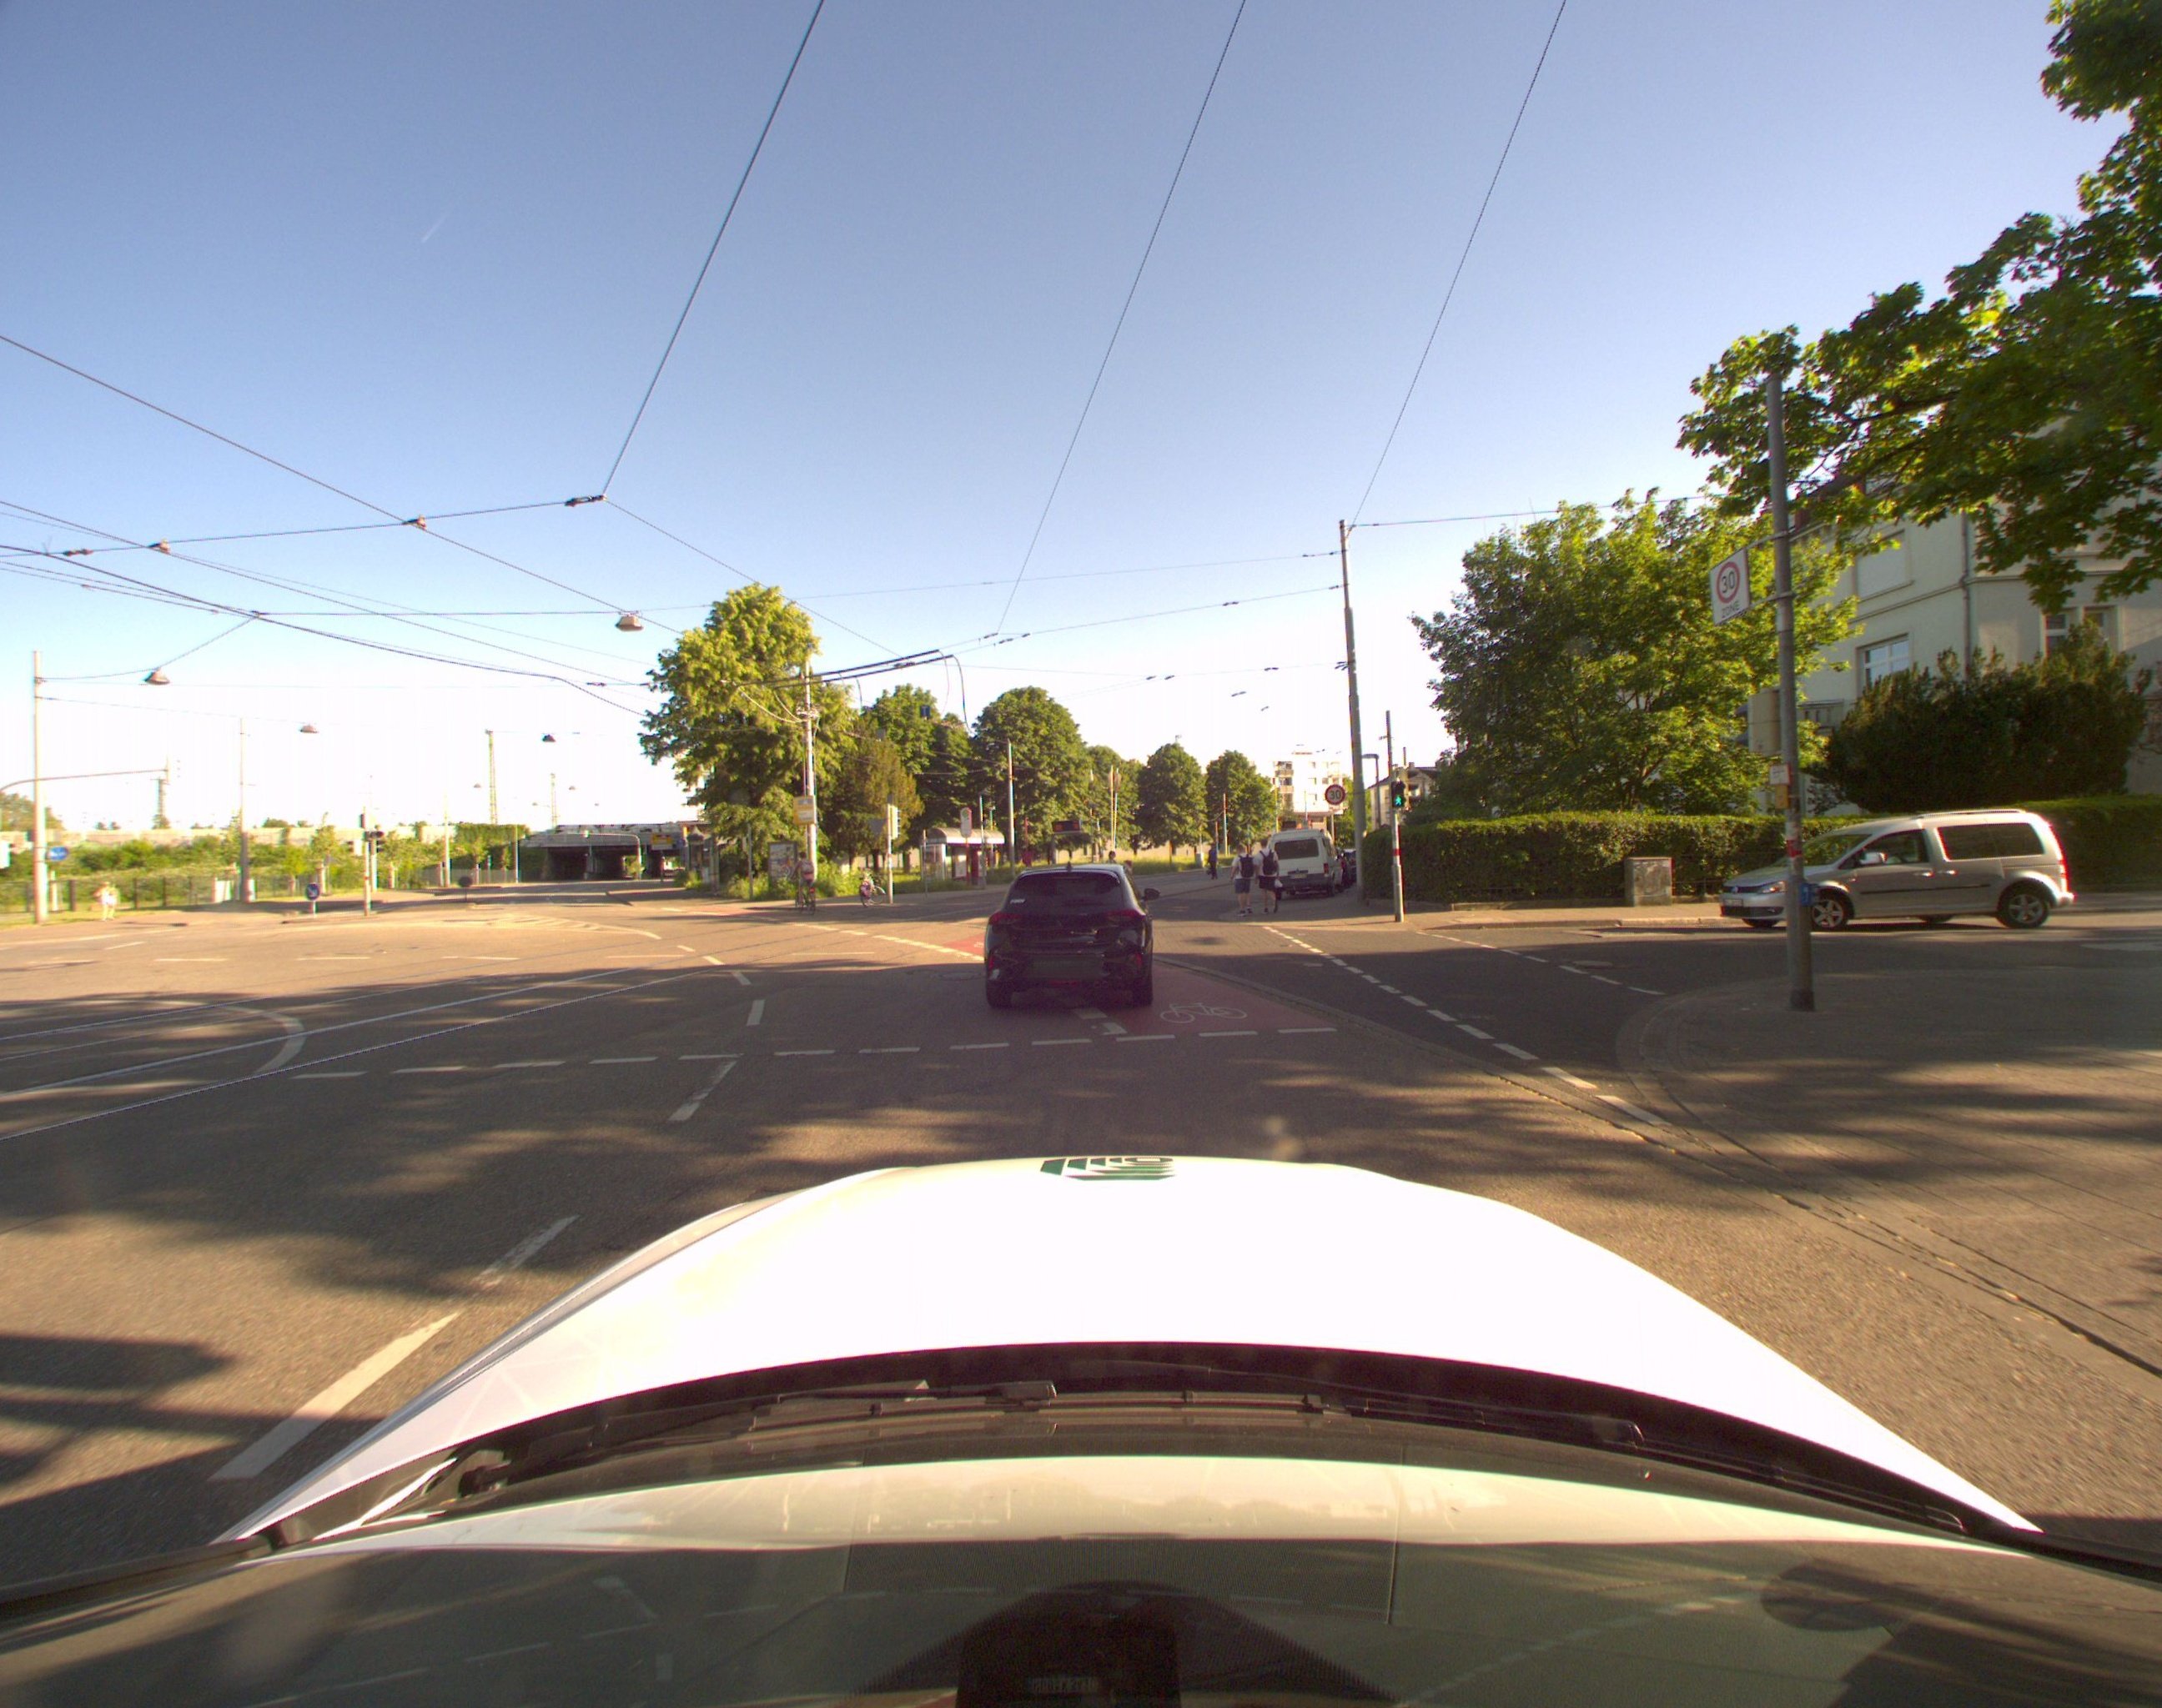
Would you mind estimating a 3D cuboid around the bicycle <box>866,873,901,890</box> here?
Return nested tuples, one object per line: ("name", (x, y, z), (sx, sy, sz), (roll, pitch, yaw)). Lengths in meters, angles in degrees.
("bicycle", (-11.446, 1.575, 47.219), (1.867, 0.906, 0.660), (-2, 0, 5))

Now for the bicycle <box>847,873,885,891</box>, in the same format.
("bicycle", (-11.703, 1.537, 44.385), (1.867, 0.906, 0.660), (-2, 0, 5))

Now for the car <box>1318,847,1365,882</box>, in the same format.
("car", (12.009, 0.436, 37.440), (1.785, 1.476, 3.960), (-2, 0, 21))

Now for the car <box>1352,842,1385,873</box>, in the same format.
("car", (18.934, 0.209, 53.536), (1.784, 1.927, 3.961), (-2, 0, 23))

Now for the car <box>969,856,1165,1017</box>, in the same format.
("car", (-0.049, 0.783, 9.629), (1.793, 1.441, 3.942), (-2, 0, 2))

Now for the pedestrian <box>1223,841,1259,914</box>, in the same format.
("pedestrian", (4.010, 0.583, 20.445), (0.696, 1.792, 0.617), (-2, 0, -2))

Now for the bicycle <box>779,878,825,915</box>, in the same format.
("bicycle", (-8.438, 1.256, 24.616), (0.672, 1.059, 2.058), (-2, 0, -37))

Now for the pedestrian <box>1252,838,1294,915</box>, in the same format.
("pedestrian", (4.754, 0.555, 20.165), (0.696, 1.846, 0.705), (-2, -1, 38))

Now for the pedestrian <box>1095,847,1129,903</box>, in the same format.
("pedestrian", (0.957, 0.649, 25.260), (0.718, 1.693, 0.705), (-2, -1, 42))

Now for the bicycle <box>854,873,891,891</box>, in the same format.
("bicycle", (-11.626, 1.576, 45.372), (1.867, 0.906, 0.660), (-2, 0, 5))

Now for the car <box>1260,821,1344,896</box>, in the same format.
("car", (7.461, 0.188, 27.209), (2.071, 2.278, 4.329), (-1, -1, 23))

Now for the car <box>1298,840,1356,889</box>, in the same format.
("car", (9.808, 0.371, 32.306), (1.785, 1.763, 3.912), (-2, 0, 22))

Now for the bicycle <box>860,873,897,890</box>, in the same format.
("bicycle", (-11.496, 1.568, 46.246), (1.867, 0.906, 0.660), (-2, 0, 5))

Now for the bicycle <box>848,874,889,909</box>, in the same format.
("bicycle", (-7.103, 1.241, 27.320), (0.822, 1.059, 1.883), (-2, 0, 1))

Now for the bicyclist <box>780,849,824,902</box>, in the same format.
("bicyclist", (-8.426, 0.635, 24.548), (0.847, 1.510, 1.353), (-2, 0, -37))

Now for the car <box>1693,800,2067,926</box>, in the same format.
("car", (13.122, 0.195, 13.650), (4.153, 1.814, 1.809), (-2, -3, 7))

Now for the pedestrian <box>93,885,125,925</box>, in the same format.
("pedestrian", (-39.954, 2.103, 33.495), (0.602, 1.596, 0.679), (0, -1, -27))

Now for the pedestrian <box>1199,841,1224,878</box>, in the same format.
("pedestrian", (6.570, 0.278, 41.089), (0.949, 1.793, 1.001), (-2, -1, 24))
